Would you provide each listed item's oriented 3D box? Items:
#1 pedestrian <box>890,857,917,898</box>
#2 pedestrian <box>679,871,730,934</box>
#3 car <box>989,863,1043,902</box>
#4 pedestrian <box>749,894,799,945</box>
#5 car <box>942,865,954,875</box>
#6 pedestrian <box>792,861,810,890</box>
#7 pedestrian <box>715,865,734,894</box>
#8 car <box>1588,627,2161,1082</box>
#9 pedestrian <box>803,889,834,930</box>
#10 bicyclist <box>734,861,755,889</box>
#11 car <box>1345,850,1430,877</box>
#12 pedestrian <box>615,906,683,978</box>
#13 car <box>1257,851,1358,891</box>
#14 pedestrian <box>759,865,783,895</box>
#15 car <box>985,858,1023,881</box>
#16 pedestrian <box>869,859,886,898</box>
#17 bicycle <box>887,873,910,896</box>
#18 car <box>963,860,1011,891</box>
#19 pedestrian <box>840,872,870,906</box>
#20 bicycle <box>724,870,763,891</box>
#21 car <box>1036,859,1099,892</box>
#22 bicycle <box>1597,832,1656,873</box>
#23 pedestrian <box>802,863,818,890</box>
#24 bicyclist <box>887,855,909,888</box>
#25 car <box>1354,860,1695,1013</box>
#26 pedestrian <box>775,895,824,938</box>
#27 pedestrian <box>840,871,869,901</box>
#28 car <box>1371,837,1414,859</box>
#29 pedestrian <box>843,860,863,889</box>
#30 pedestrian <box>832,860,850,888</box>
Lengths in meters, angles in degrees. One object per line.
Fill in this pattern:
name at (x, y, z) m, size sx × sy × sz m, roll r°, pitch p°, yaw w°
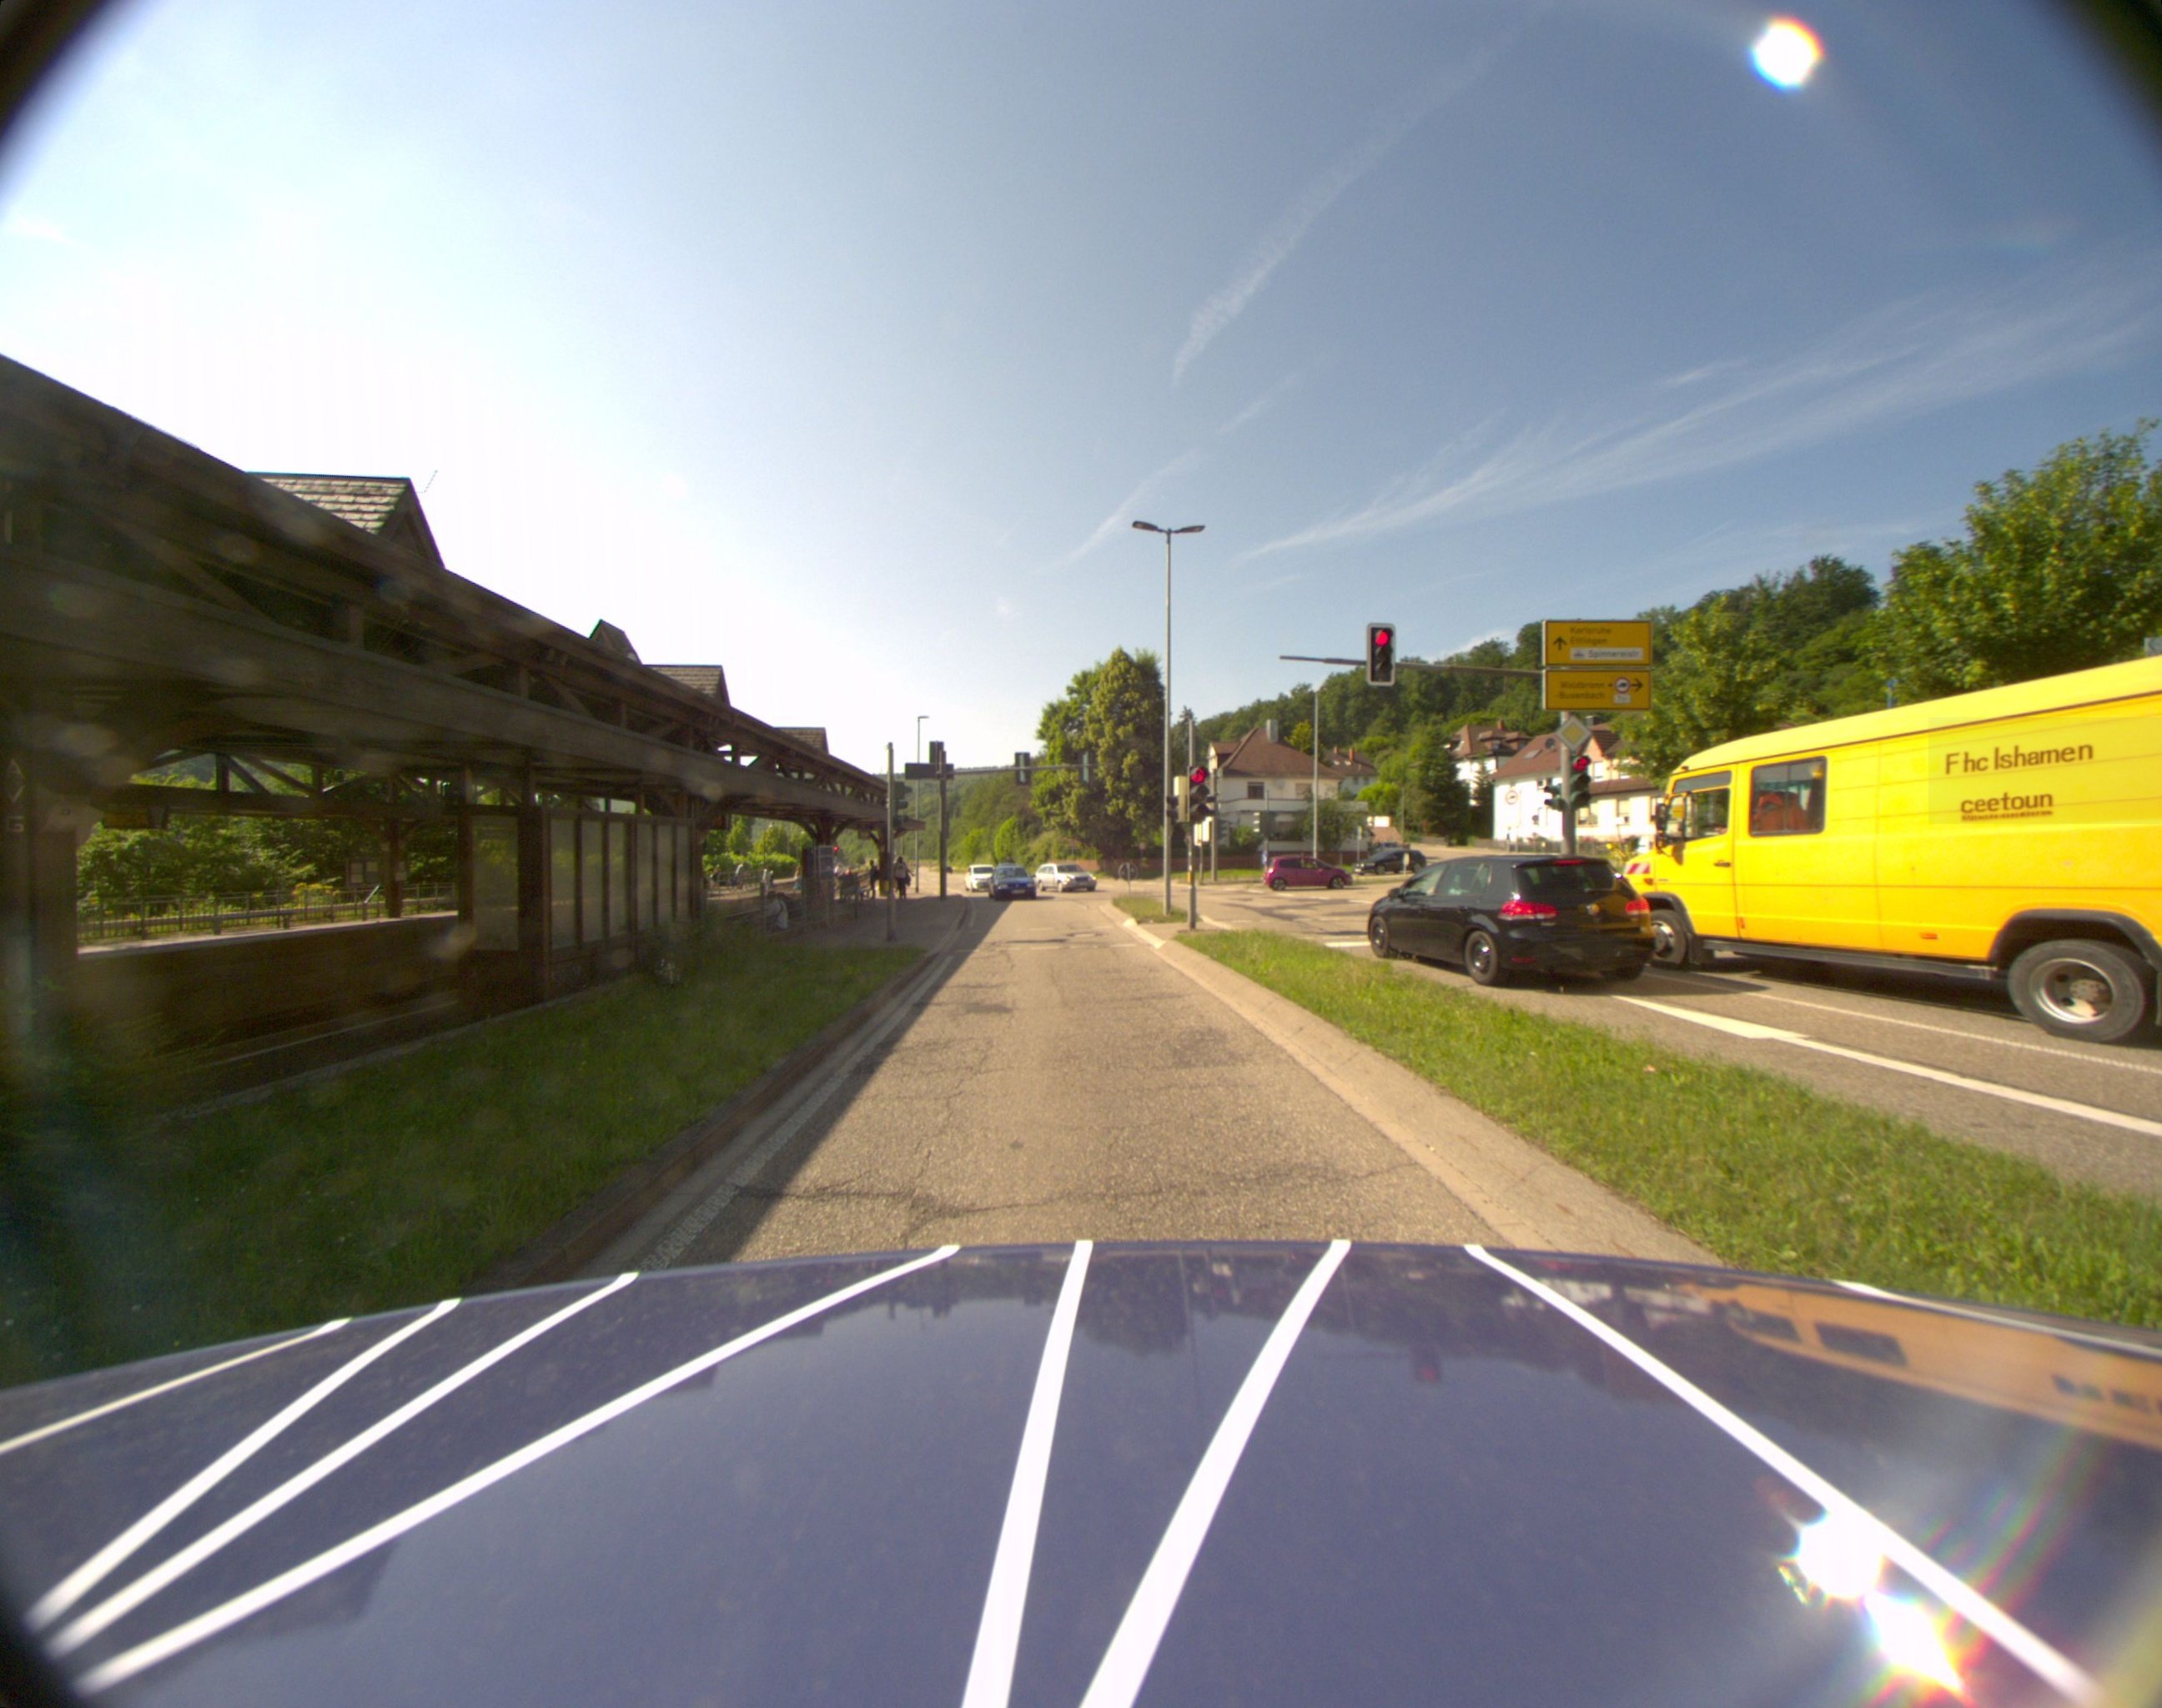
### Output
pedestrian at (-7.799, 1.043, 33.418) m, size 0.916 × 1.726 × 1.251 m, roll -3°, pitch -1°, yaw -6°
pedestrian at (-9.479, 1.201, 19.152) m, size 0.863 × 1.538 × 0.922 m, roll -1°, pitch -1°, yaw -5°
car at (-2.830, 1.151, 32.395) m, size 1.867 × 1.474 × 4.298 m, roll -1°, pitch 0°, yaw -10°
pedestrian at (-6.426, 1.366, 15.922) m, size 0.744 × 0.976 × 0.769 m, roll -3°, pitch -1°, yaw -7°
car at (-24.735, 2.960, 141.403) m, size 2.000 × 1.739 × 3.998 m, roll -3°, pitch -1°, yaw -9°
pedestrian at (-17.058, 1.303, 46.224) m, size 0.905 × 1.674 × 0.821 m, roll -3°, pitch -1°, yaw -23°
pedestrian at (-21.189, 1.521, 45.146) m, size 0.905 × 1.674 × 1.123 m, roll -3°, pitch -1°, yaw -23°
car at (8.225, -0.041, 6.988) m, size 2.474 × 2.993 × 6.464 m, roll -3°, pitch 0°, yaw -3°
pedestrian at (-6.536, 1.380, 18.956) m, size 0.619 × 0.960 × 0.406 m, roll -3°, pitch -1°, yaw -7°
bicyclist at (-21.062, 1.326, 47.514) m, size 0.820 × 1.674 × 0.905 m, roll -4°, pitch -1°, yaw 44°
car at (18.778, 0.593, 46.550) m, size 4.755 × 1.475 × 1.978 m, roll -2°, pitch -1°, yaw -21°
pedestrian at (-7.342, 1.478, 12.942) m, size 0.744 × 1.110 × 0.667 m, roll -3°, pitch -1°, yaw -7°
car at (9.574, 0.719, 32.362) m, size 3.949 × 1.525 × 1.664 m, roll -2°, pitch 0°, yaw 11°
pedestrian at (-19.052, 1.597, 46.658) m, size 0.990 × 1.831 × 1.073 m, roll -2°, pitch -1°, yaw 0°
car at (-5.627, 1.152, 55.273) m, size 1.982 × 1.495 × 3.982 m, roll -2°, pitch -1°, yaw -17°
pedestrian at (-8.888, 1.063, 33.163) m, size 0.659 × 1.682 × 0.738 m, roll -1°, pitch 0°, yaw -13°
bicycle at (-9.109, 1.507, 37.925) m, size 0.605 × 1.049 × 1.810 m, roll -3°, pitch 0°, yaw -29°
car at (-5.388, 1.190, 43.103) m, size 2.001 × 1.575 × 3.994 m, roll -3°, pitch 0°, yaw -17°
pedestrian at (-8.712, 1.349, 29.289) m, size 0.994 × 1.228 × 0.596 m, roll -3°, pitch -1°, yaw -14°
bicycle at (-21.080, 1.670, 47.452) m, size 0.708 × 1.201 × 2.024 m, roll -4°, pitch -1°, yaw 44°
car at (-0.782, 1.104, 38.979) m, size 1.982 × 1.495 × 4.745 m, roll -2°, pitch -1°, yaw -17°
bicycle at (18.295, -0.027, 25.539) m, size 0.620 × 1.247 × 1.758 m, roll -6°, pitch -2°, yaw 2°
pedestrian at (-17.022, 1.393, 47.813) m, size 0.558 × 1.674 × 0.685 m, roll -3°, pitch -1°, yaw 21°
bicyclist at (-9.128, 0.880, 37.932) m, size 0.788 × 1.559 × 0.945 m, roll -3°, pitch 1°, yaw -28°
car at (5.102, 0.822, 9.497) m, size 1.750 × 1.454 × 4.042 m, roll -1°, pitch 0°, yaw -3°
pedestrian at (-6.378, 1.408, 17.264) m, size 0.847 × 0.869 × 0.807 m, roll -3°, pitch -1°, yaw -7°
pedestrian at (-9.083, 1.273, 30.471) m, size 1.010 × 1.153 × 0.947 m, roll -2°, pitch 1°, yaw -13°
car at (25.823, -0.496, 63.164) m, size 1.939 × 1.627 × 4.001 m, roll -3°, pitch -1°, yaw 2°
pedestrian at (-14.020, 1.265, 46.670) m, size 0.824 × 1.674 × 0.901 m, roll -3°, pitch -1°, yaw -41°
pedestrian at (-14.945, 1.253, 47.275) m, size 0.868 × 1.674 × 0.822 m, roll -3°, pitch -1°, yaw -7°
